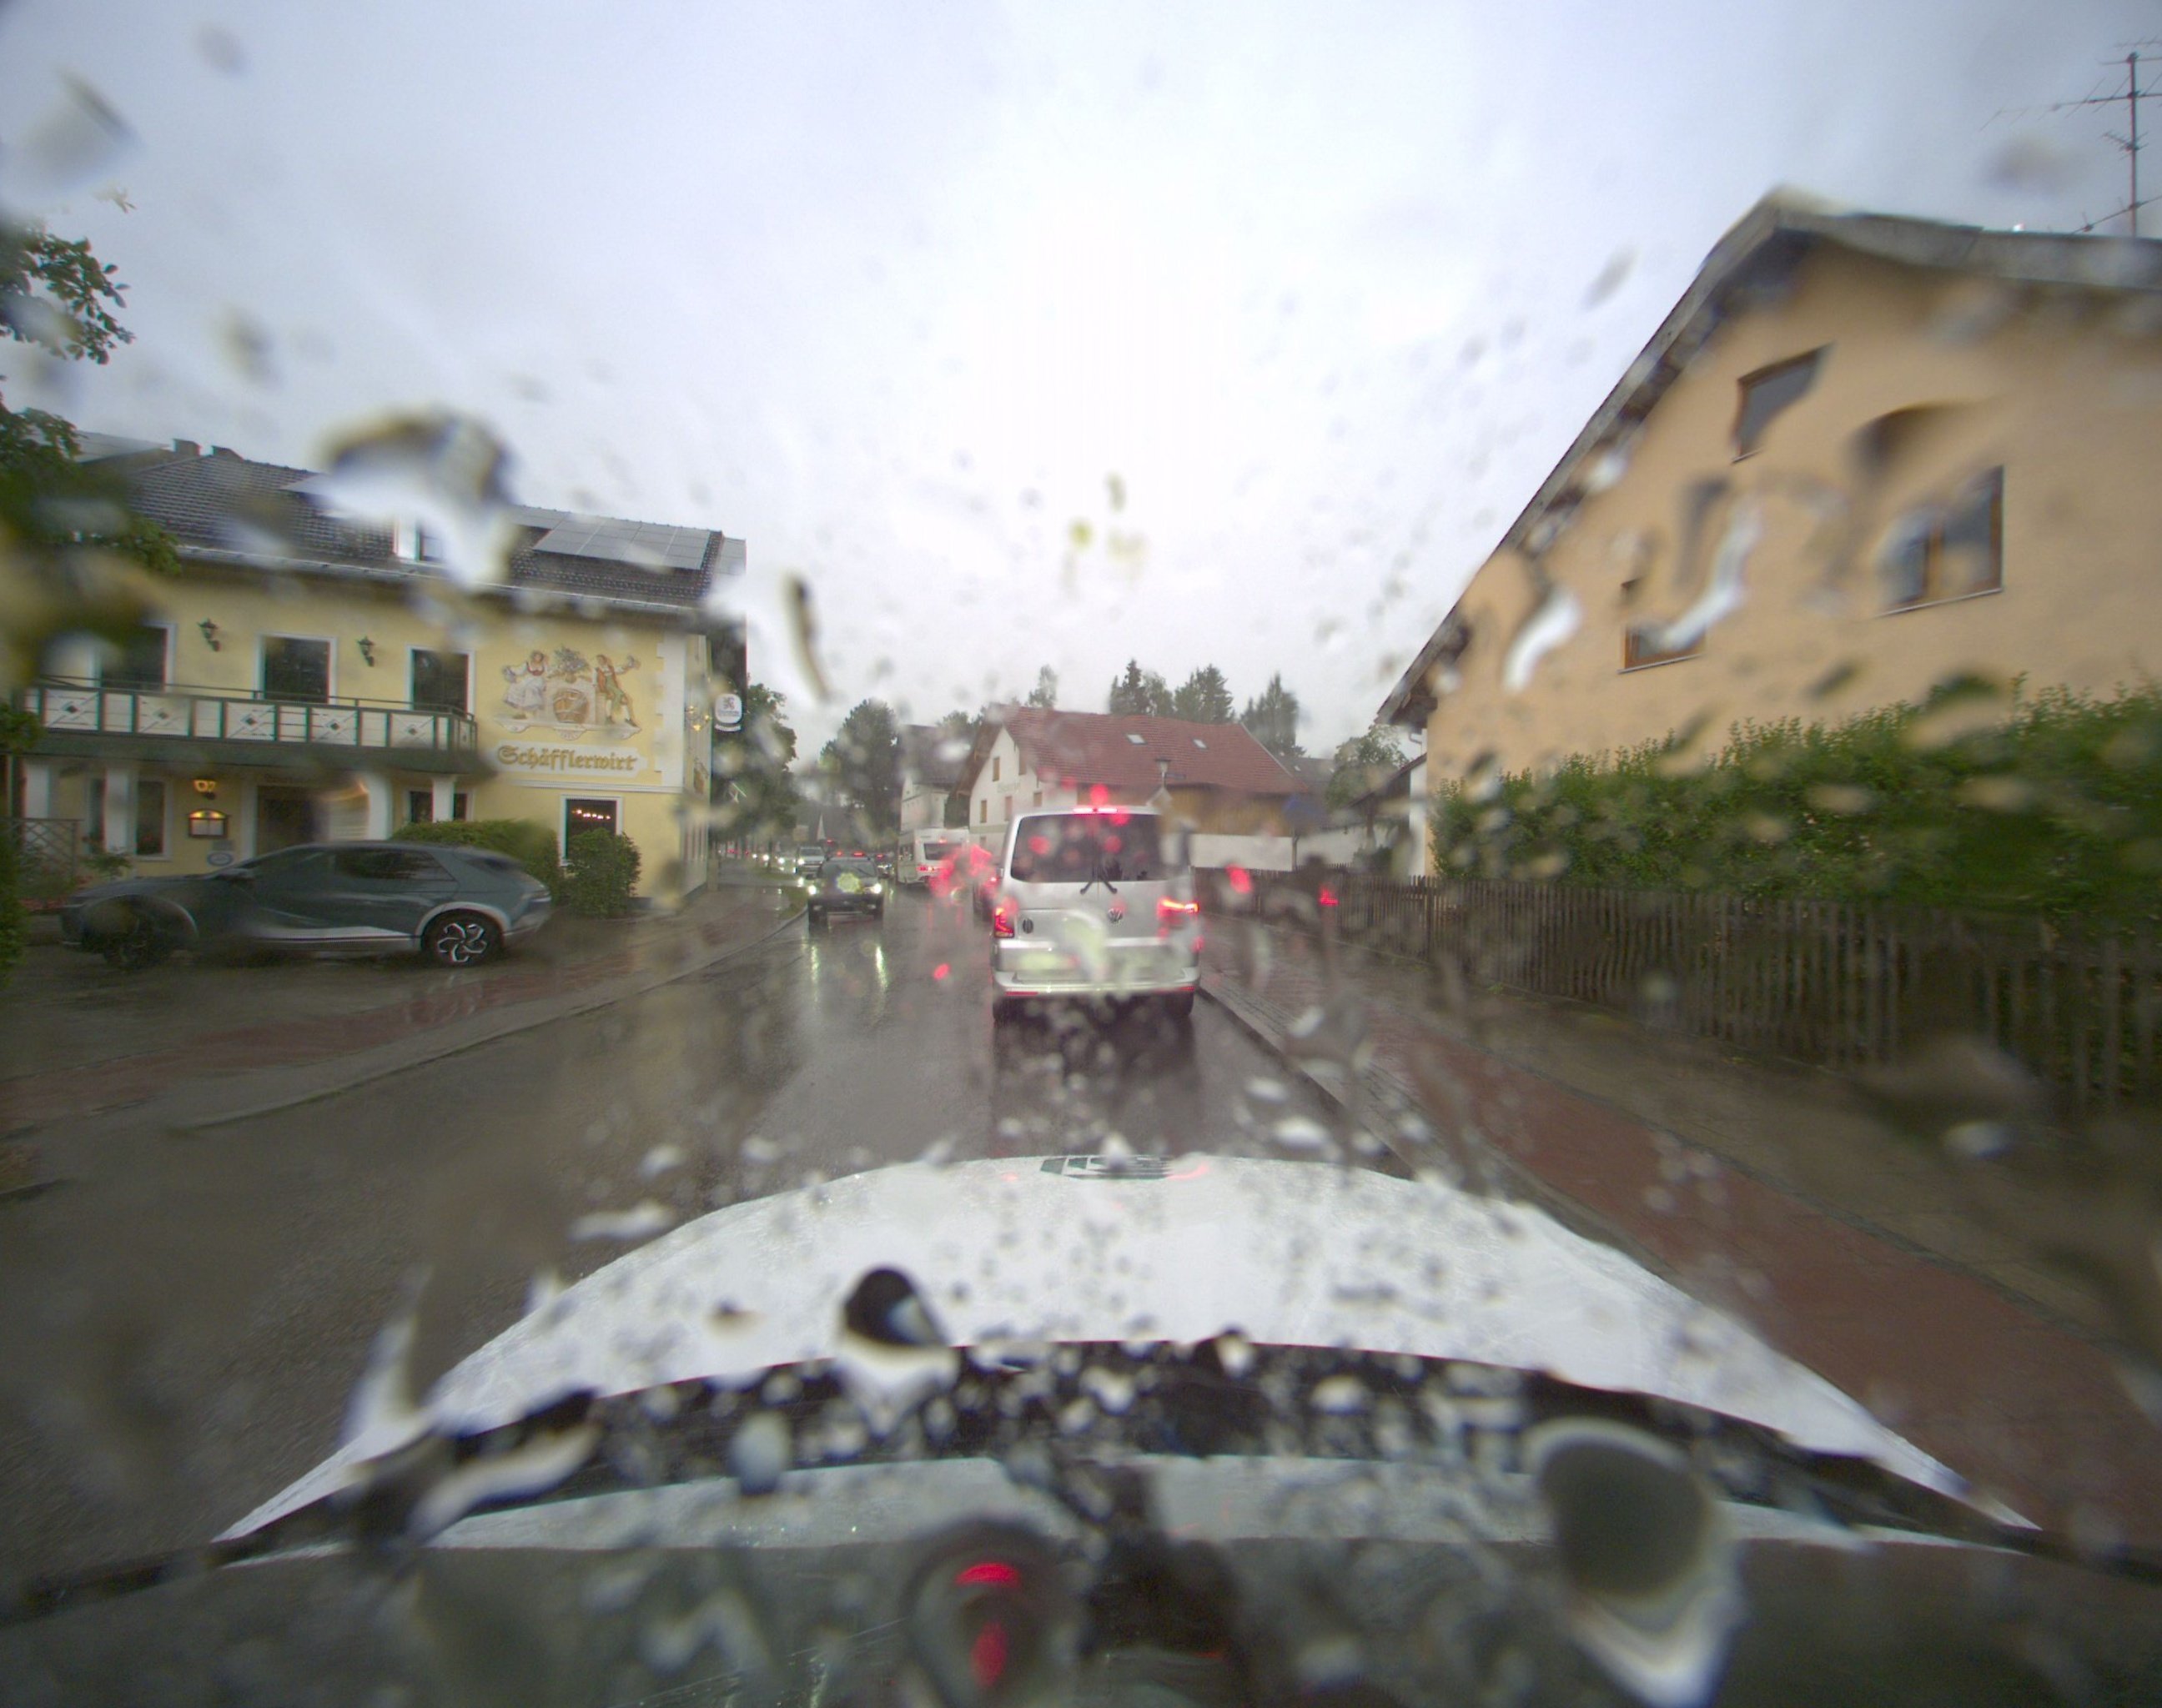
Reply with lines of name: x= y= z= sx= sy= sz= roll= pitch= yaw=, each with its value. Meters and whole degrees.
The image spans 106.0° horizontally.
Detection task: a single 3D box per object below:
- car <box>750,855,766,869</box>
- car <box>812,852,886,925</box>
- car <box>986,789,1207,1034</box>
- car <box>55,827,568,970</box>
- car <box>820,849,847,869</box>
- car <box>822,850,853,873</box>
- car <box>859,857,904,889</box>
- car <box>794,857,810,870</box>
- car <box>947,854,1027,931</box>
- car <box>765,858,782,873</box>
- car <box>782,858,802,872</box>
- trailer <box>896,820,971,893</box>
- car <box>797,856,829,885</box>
car: x=-46.102 y=1.134 z=116.252 sx=1.869 sy=1.758 sz=4.452 roll=-3 pitch=1 yaw=-21
car: x=-5.674 y=0.792 z=20.128 sx=1.589 sy=1.610 sz=3.521 roll=-1 pitch=0 yaw=-14
car: x=0.184 y=0.479 z=9.140 sx=1.770 sy=1.963 sz=5.075 roll=-1 pitch=0 yaw=1
car: x=-9.635 y=0.596 z=10.784 sx=4.496 sy=1.567 sz=1.825 roll=4 pitch=1 yaw=-24
car: x=-25.402 y=0.474 z=83.438 sx=2.178 sy=1.899 sz=4.977 roll=1 pitch=0 yaw=-22
car: x=-21.666 y=0.681 z=72.419 sx=2.178 sy=1.899 sz=4.977 roll=1 pitch=0 yaw=-22
car: x=-13.036 y=1.202 z=53.016 sx=2.178 sy=1.899 sz=4.977 roll=1 pitch=0 yaw=-22
car: x=-45.053 y=1.538 z=131.568 sx=2.178 sy=1.899 sz=4.977 roll=1 pitch=0 yaw=-22
car: x=-2.352 y=0.857 z=20.401 sx=1.707 sy=1.584 sz=4.674 roll=-2 pitch=1 yaw=-7
car: x=-38.335 y=1.407 z=101.496 sx=1.869 sy=1.758 sz=4.452 roll=-3 pitch=1 yaw=-21
car: x=-29.690 y=1.119 z=83.508 sx=1.869 sy=1.359 sz=4.452 roll=-1 pitch=1 yaw=-21
trailer: x=-6.514 y=0.111 z=35.309 sx=2.278 sy=2.904 sz=6.092 roll=0 pitch=0 yaw=-19
car: x=-19.604 y=1.201 z=59.440 sx=1.859 sy=1.971 sz=4.665 roll=-1 pitch=-1 yaw=-23
